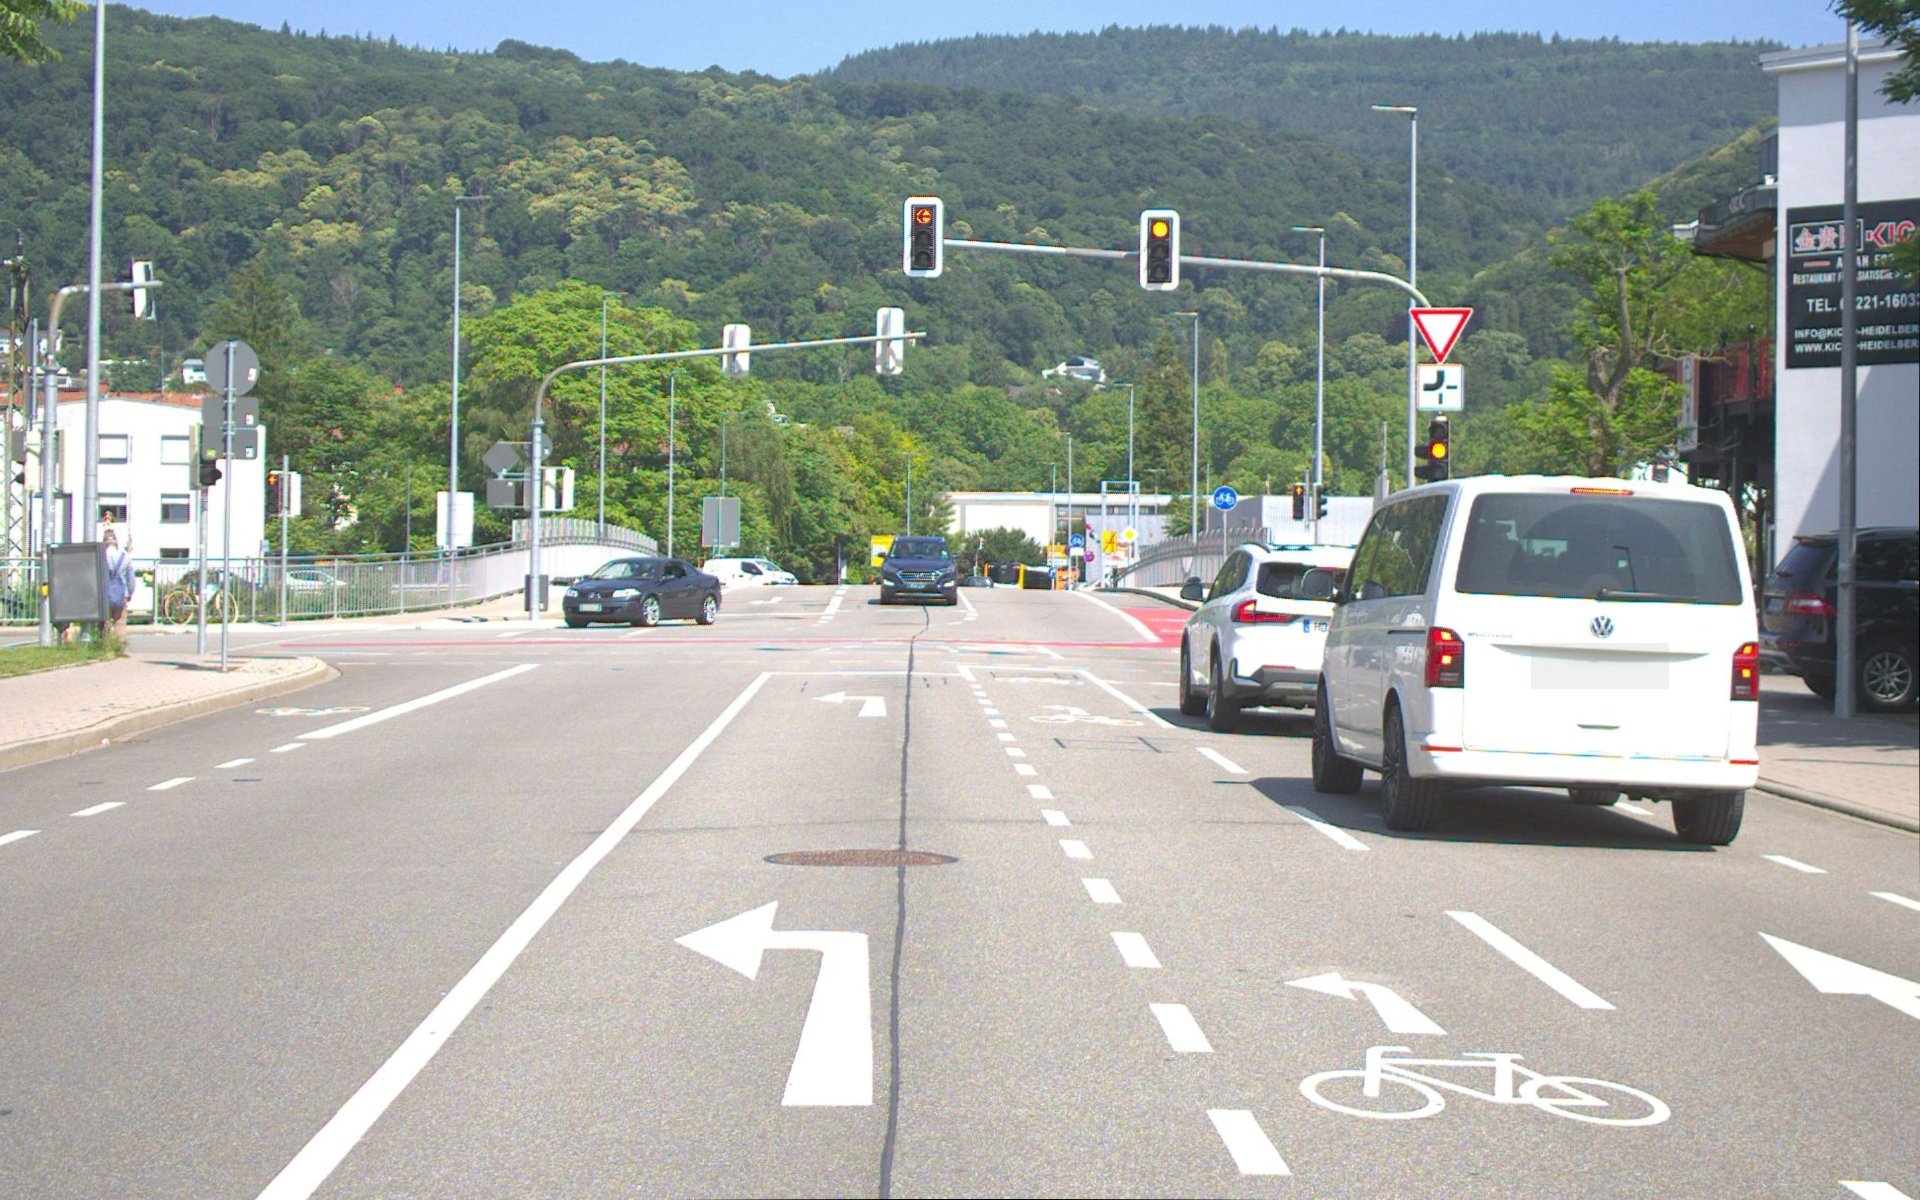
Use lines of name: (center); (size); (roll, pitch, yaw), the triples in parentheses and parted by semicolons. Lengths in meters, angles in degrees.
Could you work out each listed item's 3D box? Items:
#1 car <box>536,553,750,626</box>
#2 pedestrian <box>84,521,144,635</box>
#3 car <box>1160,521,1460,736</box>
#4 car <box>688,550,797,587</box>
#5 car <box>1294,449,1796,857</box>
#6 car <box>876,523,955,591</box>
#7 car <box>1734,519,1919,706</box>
car: (-6.193, -0.231, 67.634); (1.997, 1.365, 4.319); (1, 1, 31)
pedestrian: (-11.755, -0.309, 47.785); (0.698, 1.568, 0.676); (1, 1, -3)
car: (3.001, 0.190, 30.420); (1.934, 1.681, 4.545); (3, 1, -2)
car: (-9.493, -1.376, 150.052); (4.454, 1.583, 1.853); (1, 1, 28)
car: (3.243, 0.219, 20.024); (1.934, 2.052, 4.545); (2, 1, -2)
car: (-1.071, -1.055, 82.955); (1.849, 1.583, 4.000); (0, 1, -1)
car: (9.770, 0.111, 33.750); (3.988, 1.769, 2.000); (1, 1, 5)
